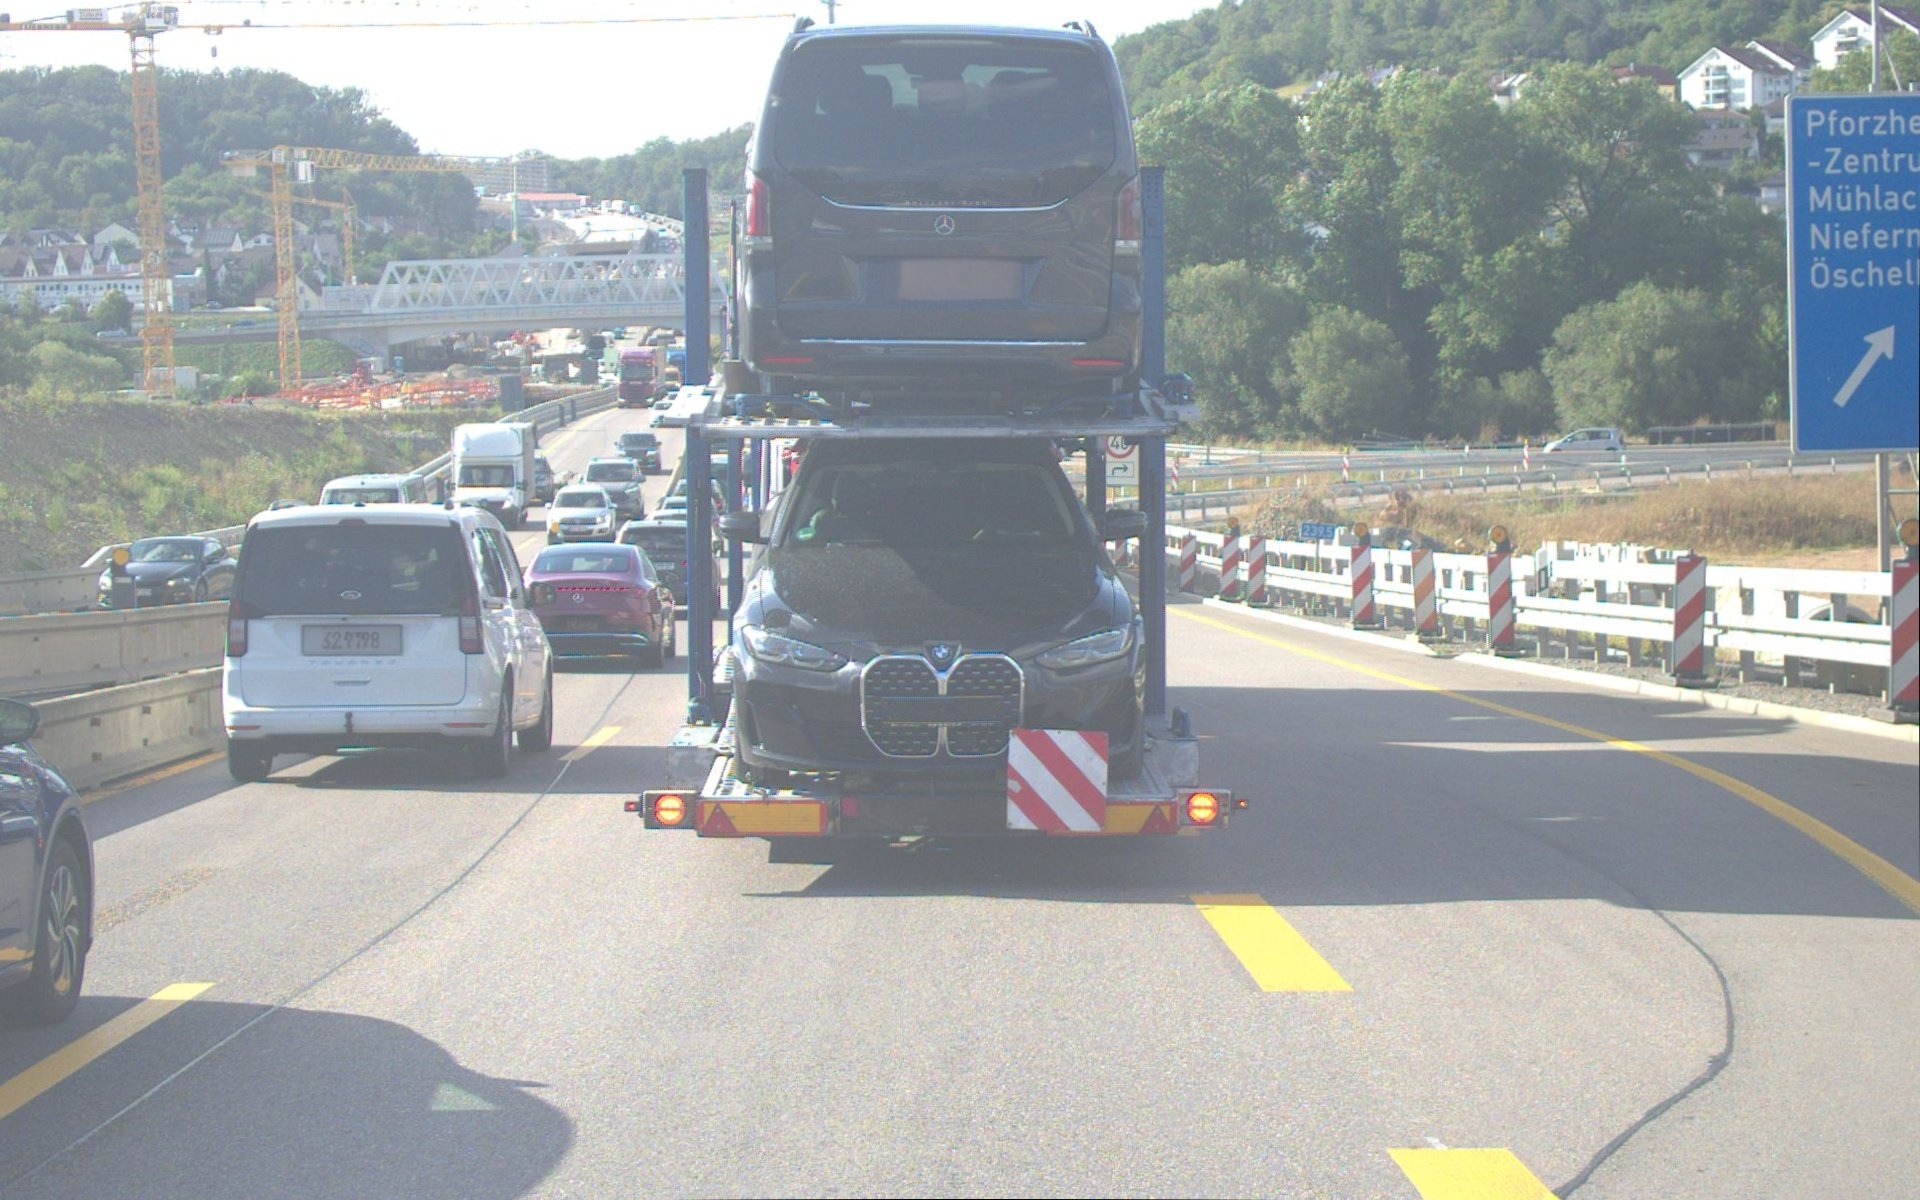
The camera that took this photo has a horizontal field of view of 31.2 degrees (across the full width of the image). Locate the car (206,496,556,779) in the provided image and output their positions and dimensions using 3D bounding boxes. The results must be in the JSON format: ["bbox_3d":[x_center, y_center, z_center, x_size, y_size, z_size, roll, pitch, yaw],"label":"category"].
[{"bbox_3d":[-3.901,0.223,23.756,1.823,1.786,4.000,0,0,-1],"label":"car"}]

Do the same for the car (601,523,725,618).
[{"bbox_3d":[-5.020,-0.493,57.769,1.993,1.547,4.001,0,0,-6],"label":"car"}]

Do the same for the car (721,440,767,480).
[{"bbox_3d":[-9.218,-5.958,146.364,1.844,1.642,4.506,0,2,-5],"label":"car"}]

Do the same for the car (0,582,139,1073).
[{"bbox_3d":[-3.648,0.676,9.594,1.722,1.417,4.000,-2,0,0],"label":"car"}]

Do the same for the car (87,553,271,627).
[{"bbox_3d":[-13.773,-0.190,60.848,1.920,1.268,3.999,0,0,7],"label":"car"}]

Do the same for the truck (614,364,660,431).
[{"bbox_3d":[-21.976,-13.765,233.712,2.914,4.372,6.288,1,2,-7],"label":"truck"}]

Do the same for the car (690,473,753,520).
[{"bbox_3d":[-8.322,-3.626,120.338,1.993,1.547,4.000,0,0,-1],"label":"car"}]

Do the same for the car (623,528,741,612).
[{"bbox_3d":[-5.269,-0.570,65.538,1.993,1.547,4.000,0,0,-1],"label":"car"}]

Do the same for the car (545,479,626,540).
[{"bbox_3d":[-10.789,-2.628,99.178,2.125,1.668,4.273,0,3,-4],"label":"car"}]

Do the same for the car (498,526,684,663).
[{"bbox_3d":[-4.365,-0.078,41.255,1.993,1.551,4.401,0,0,-3],"label":"car"}]

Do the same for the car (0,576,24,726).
[{"bbox_3d":[-12.168,0.603,38.226,1.994,1.720,4.121,0,0,7],"label":"car"}]

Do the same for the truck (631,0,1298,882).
[{"bbox_3d":[-0.236,-0.864,23.883,2.753,3.941,18.891,1,0,-2],"label":"truck"}]

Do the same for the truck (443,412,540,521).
[{"bbox_3d":[-15.121,-4.264,111.387,2.700,3.300,7.538,0,0,-5],"label":"truck"}]

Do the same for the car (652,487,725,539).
[{"bbox_3d":[-8.369,-2.669,106.217,1.993,1.547,4.000,0,0,-1],"label":"car"}]

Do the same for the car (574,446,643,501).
[{"bbox_3d":[-11.881,-4.311,116.601,2.125,1.759,5.032,0,3,-4],"label":"car"}]

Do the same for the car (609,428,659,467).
[{"bbox_3d":[-14.322,-6.700,151.138,1.852,1.630,4.750,-2,3,-2],"label":"car"}]
